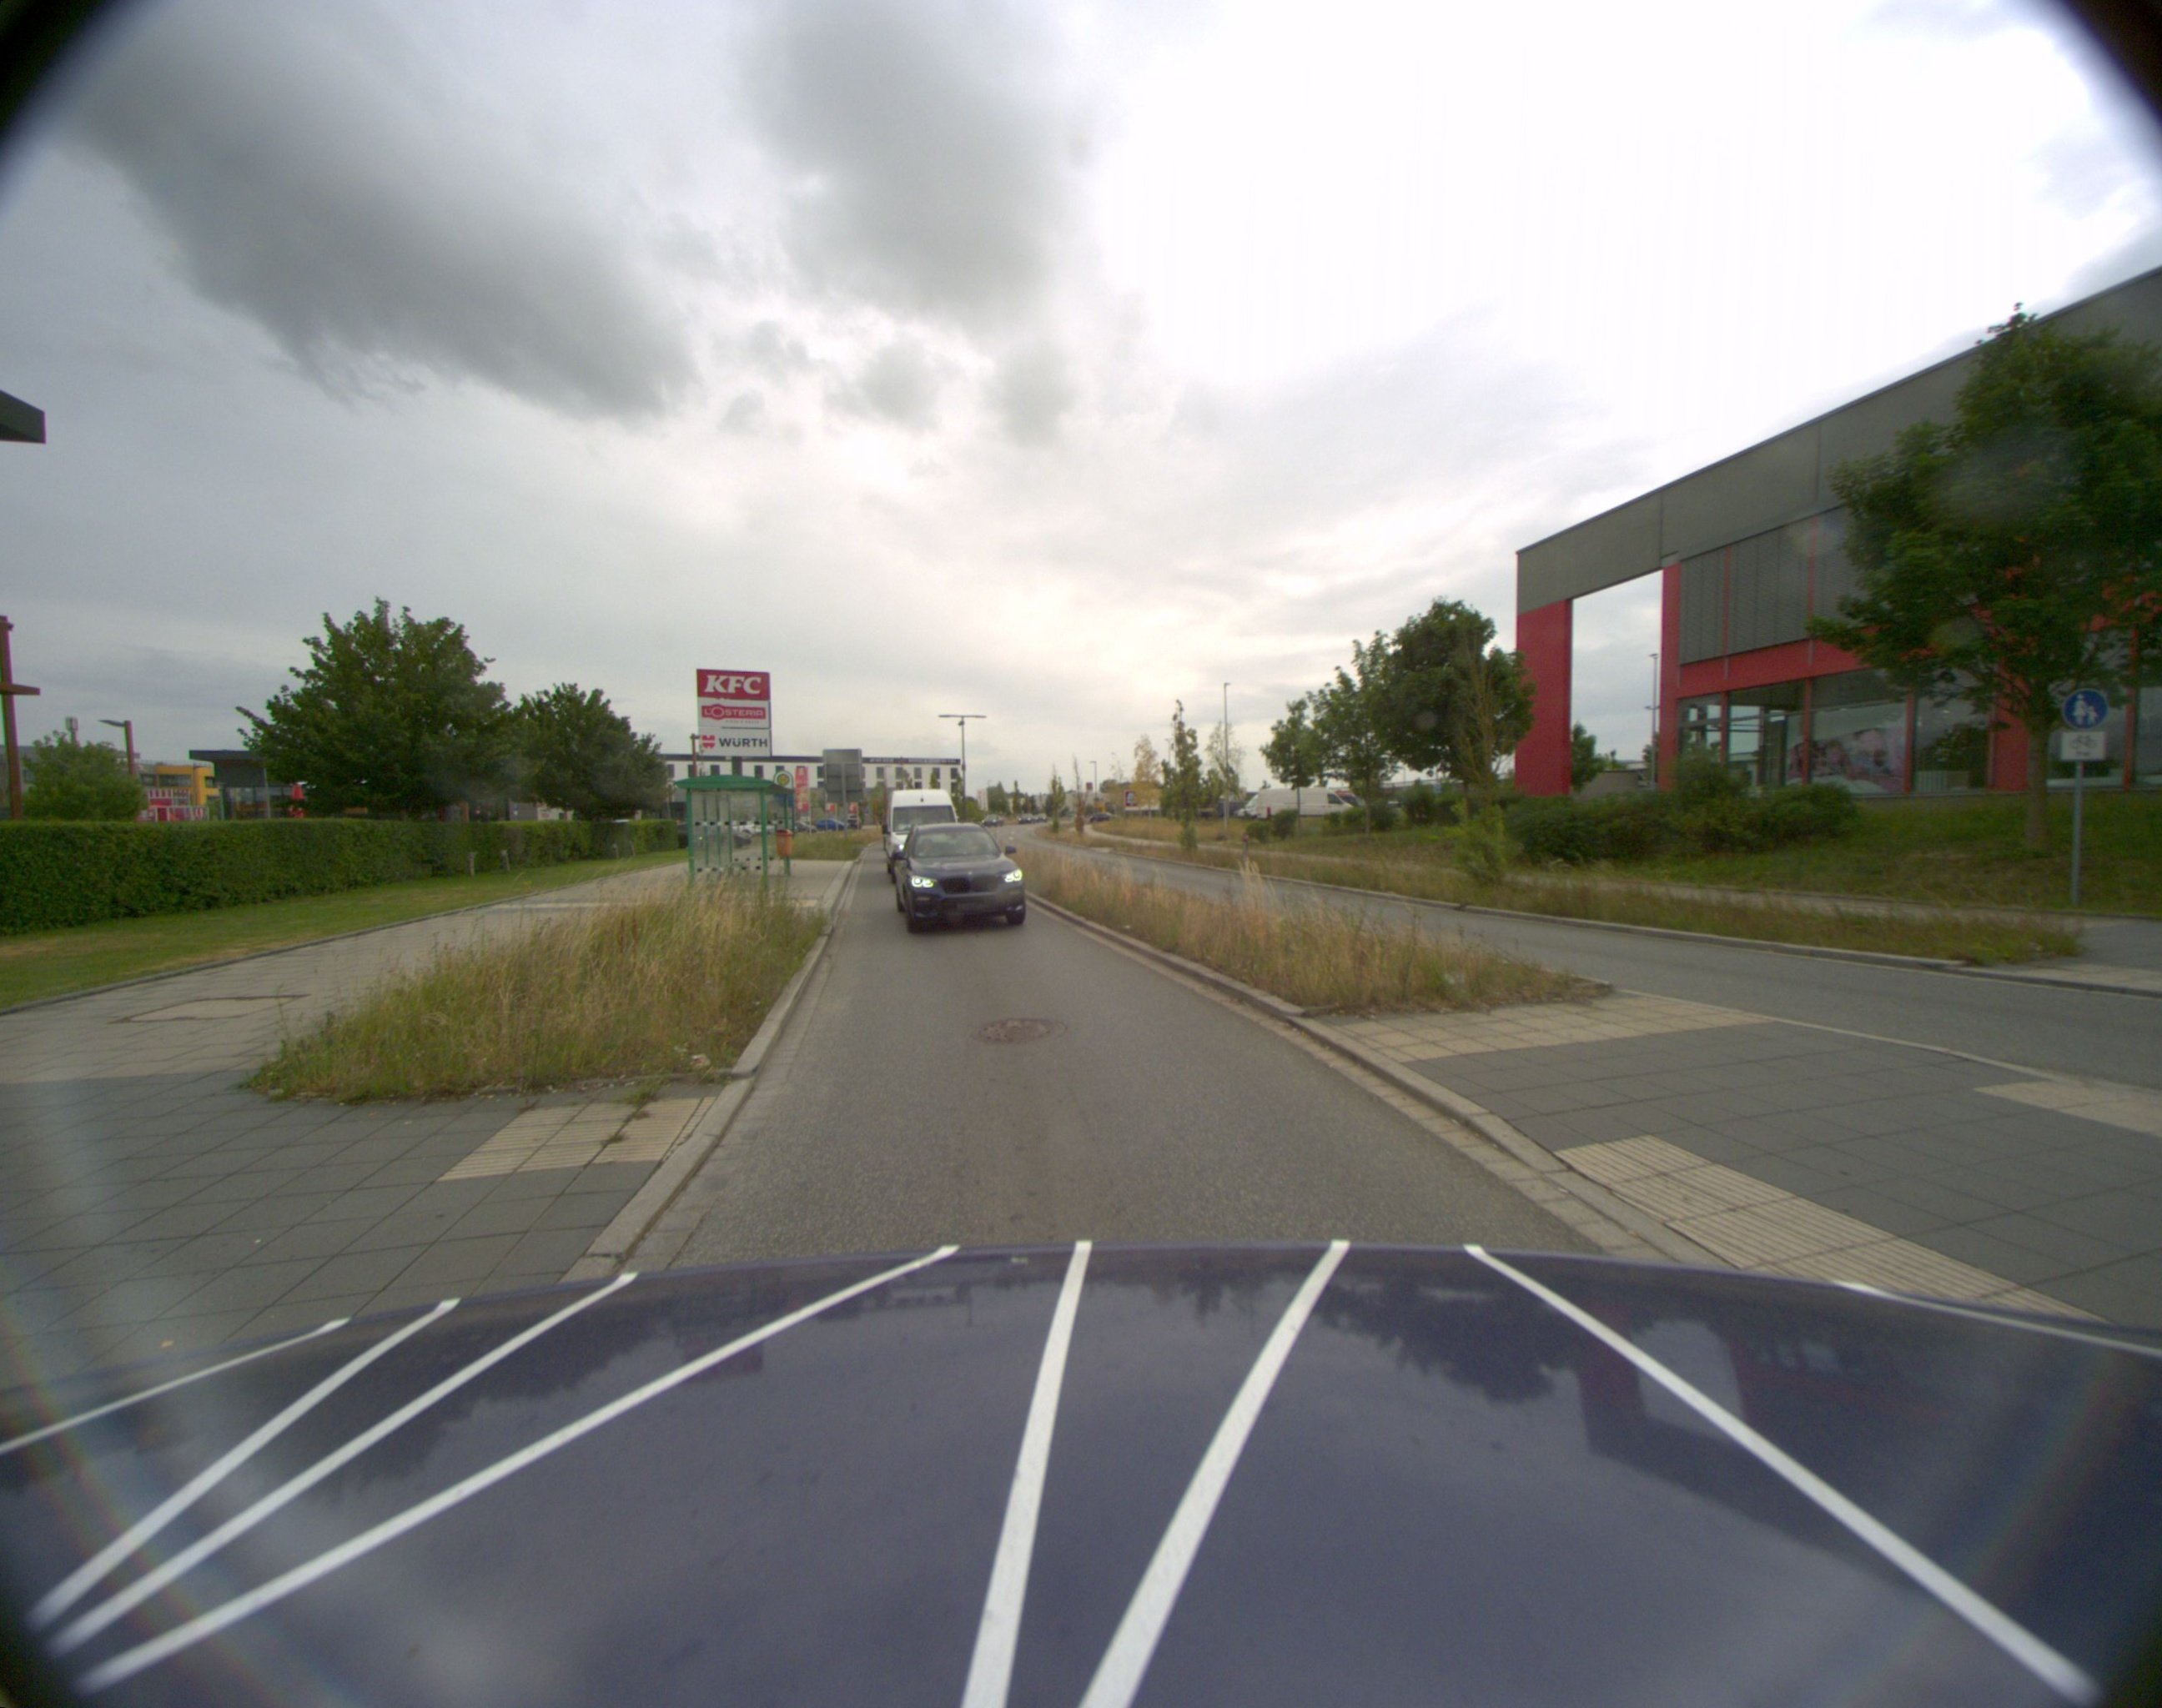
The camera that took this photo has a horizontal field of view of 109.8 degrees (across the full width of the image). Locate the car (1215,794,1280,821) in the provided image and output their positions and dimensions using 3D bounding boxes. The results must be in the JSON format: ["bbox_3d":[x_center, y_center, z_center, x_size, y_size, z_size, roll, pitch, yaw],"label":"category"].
[{"bbox_3d":[14.245,-3.991,65.302,5.056,2.212,2.062,-1,3,-7],"label":"car"}]

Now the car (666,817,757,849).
[{"bbox_3d":[-19.906,-1.171,41.103,4.000,1.478,1.844,-3,5,-10],"label":"car"}]

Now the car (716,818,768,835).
[{"bbox_3d":[-31.678,-2.585,71.144,3.999,1.514,1.845,-1,3,-6],"label":"car"}]

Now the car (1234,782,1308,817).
[{"bbox_3d":[14.372,-4.111,57.485,5.059,2.361,2.061,-4,5,-14],"label":"car"}]

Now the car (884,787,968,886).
[{"bbox_3d":[-4.784,-0.610,22.699,2.028,2.514,6.093,-2,3,-15],"label":"car"}]

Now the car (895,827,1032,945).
[{"bbox_3d":[-2.166,0.386,13.060,1.869,1.599,3.992,-2,3,-15],"label":"car"}]

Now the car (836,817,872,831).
[{"bbox_3d":[-29.284,-3.895,98.123,3.996,1.478,1.846,-2,5,3],"label":"car"}]

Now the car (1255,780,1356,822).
[{"bbox_3d":[15.543,-3.683,52.600,6.420,2.611,2.061,-3,5,-10],"label":"car"}]

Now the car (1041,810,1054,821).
[{"bbox_3d":[-5.373,-6.102,121.477,1.999,1.566,3.995,-3,4,-3],"label":"car"}]

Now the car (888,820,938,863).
[{"bbox_3d":[-7.066,-0.587,31.866,1.869,1.599,3.993,-2,3,-13],"label":"car"}]

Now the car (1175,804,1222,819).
[{"bbox_3d":[13.625,-4.983,88.480,5.055,1.647,2.062,-1,3,-4],"label":"car"}]

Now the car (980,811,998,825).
[{"bbox_3d":[-11.906,-4.696,98.819,1.999,1.566,3.995,-3,4,-3],"label":"car"}]

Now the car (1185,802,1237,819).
[{"bbox_3d":[13.790,-4.599,80.838,5.055,1.647,2.062,-1,3,-4],"label":"car"}]

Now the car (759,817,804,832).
[{"bbox_3d":[-31.886,-3.161,80.961,3.998,1.478,1.846,-1,3,-2],"label":"car"}]

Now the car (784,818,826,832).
[{"bbox_3d":[-31.322,-3.281,86.225,3.998,1.478,1.846,-1,3,-2],"label":"car"}]

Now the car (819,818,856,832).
[{"bbox_3d":[-30.659,-3.631,95.805,3.996,1.478,1.846,-2,5,3],"label":"car"}]

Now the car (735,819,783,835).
[{"bbox_3d":[-32.341,-2.704,76.341,3.999,1.478,1.845,-1,3,-6],"label":"car"}]

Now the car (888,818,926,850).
[{"bbox_3d":[-9.490,-1.145,41.392,1.869,1.599,3.993,-2,3,-13],"label":"car"}]
